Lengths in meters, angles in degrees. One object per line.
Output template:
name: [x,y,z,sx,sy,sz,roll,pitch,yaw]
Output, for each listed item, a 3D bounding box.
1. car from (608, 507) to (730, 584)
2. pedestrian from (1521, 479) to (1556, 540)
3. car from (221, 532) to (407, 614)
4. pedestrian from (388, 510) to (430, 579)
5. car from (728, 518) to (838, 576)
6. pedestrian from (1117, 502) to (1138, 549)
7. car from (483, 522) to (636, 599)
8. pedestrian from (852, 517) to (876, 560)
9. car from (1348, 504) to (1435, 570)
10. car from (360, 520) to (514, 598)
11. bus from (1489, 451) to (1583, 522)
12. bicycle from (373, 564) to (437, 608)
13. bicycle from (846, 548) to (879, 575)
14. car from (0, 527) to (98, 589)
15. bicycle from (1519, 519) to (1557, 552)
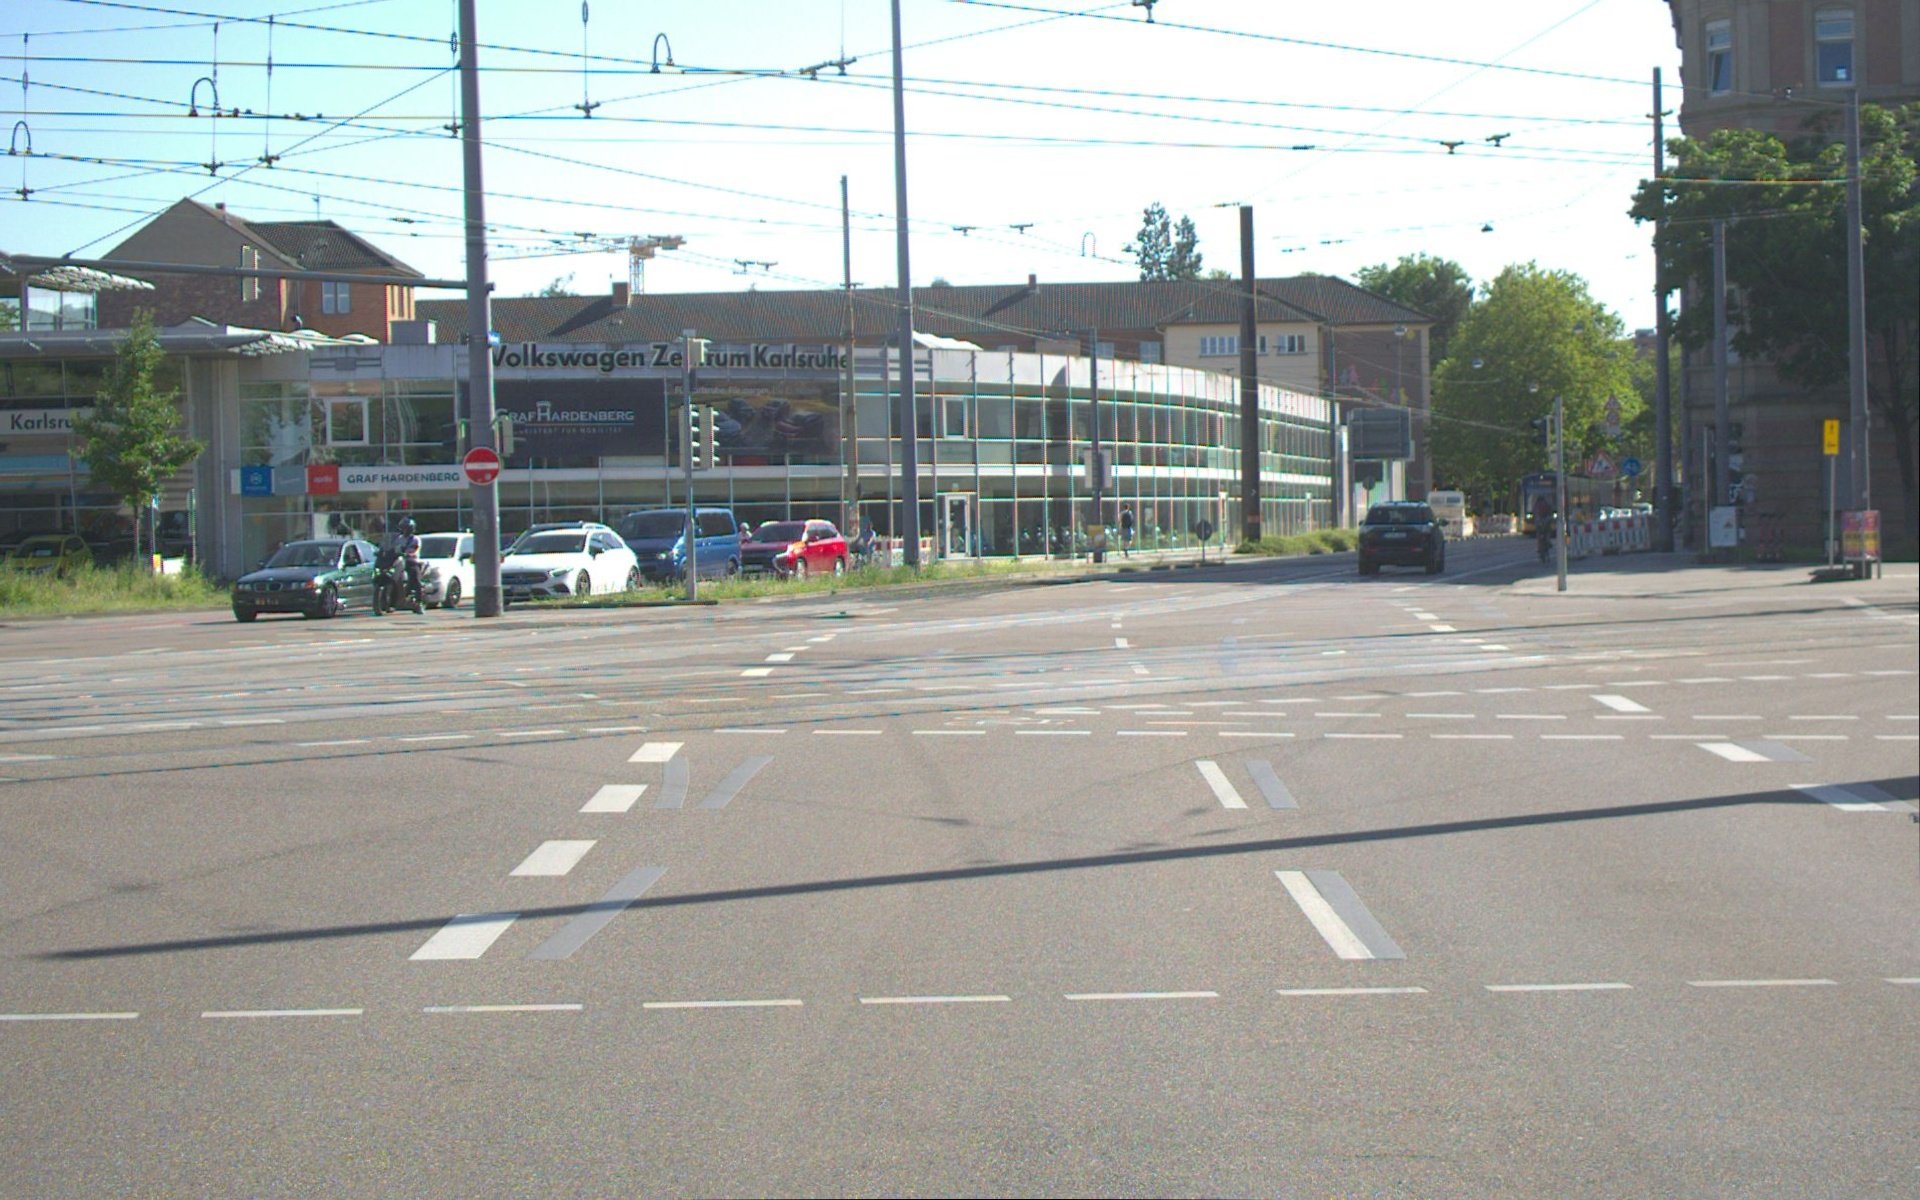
car: [-6.652,-1.269,78.955,1.627,1.686,3.683,-1,1,14]
pedestrian: [15.658,-2.446,93.032,0.803,1.626,0.717,-1,1,18]
car: [-11.394,-0.490,60.873,1.705,1.349,3.698,-1,1,17]
pedestrian: [-9.701,-0.977,60.518,0.423,1.200,0.749,-1,1,17]
car: [-4.404,-1.340,86.082,1.627,1.359,3.683,-1,1,16]
pedestrian: [5.952,-2.651,122.233,0.543,1.683,0.629,-1,1,19]
car: [-7.526,-0.763,64.943,1.627,1.377,3.735,-1,1,14]
pedestrian: [-2.717,-1.752,97.233,0.423,1.200,0.680,-1,1,19]
car: [10.127,-1.492,80.556,1.700,1.497,4.263,-1,1,11]
car: [-10.126,-0.817,66.824,1.627,1.419,3.683,-1,1,14]
bus: [33.070,-6.364,196.508,3.839,3.595,24.852,1,1,13]
bicycle: [-9.738,-0.250,60.349,0.423,0.715,1.633,-1,1,17]
bicycle: [-2.759,-1.094,97.089,0.423,0.715,1.474,-1,1,19]
car: [-26.541,-1.231,99.872,1.966,1.700,4.084,-1,1,-1]
bicycle: [15.594,-1.737,92.693,0.743,0.867,1.929,-1,1,18]
